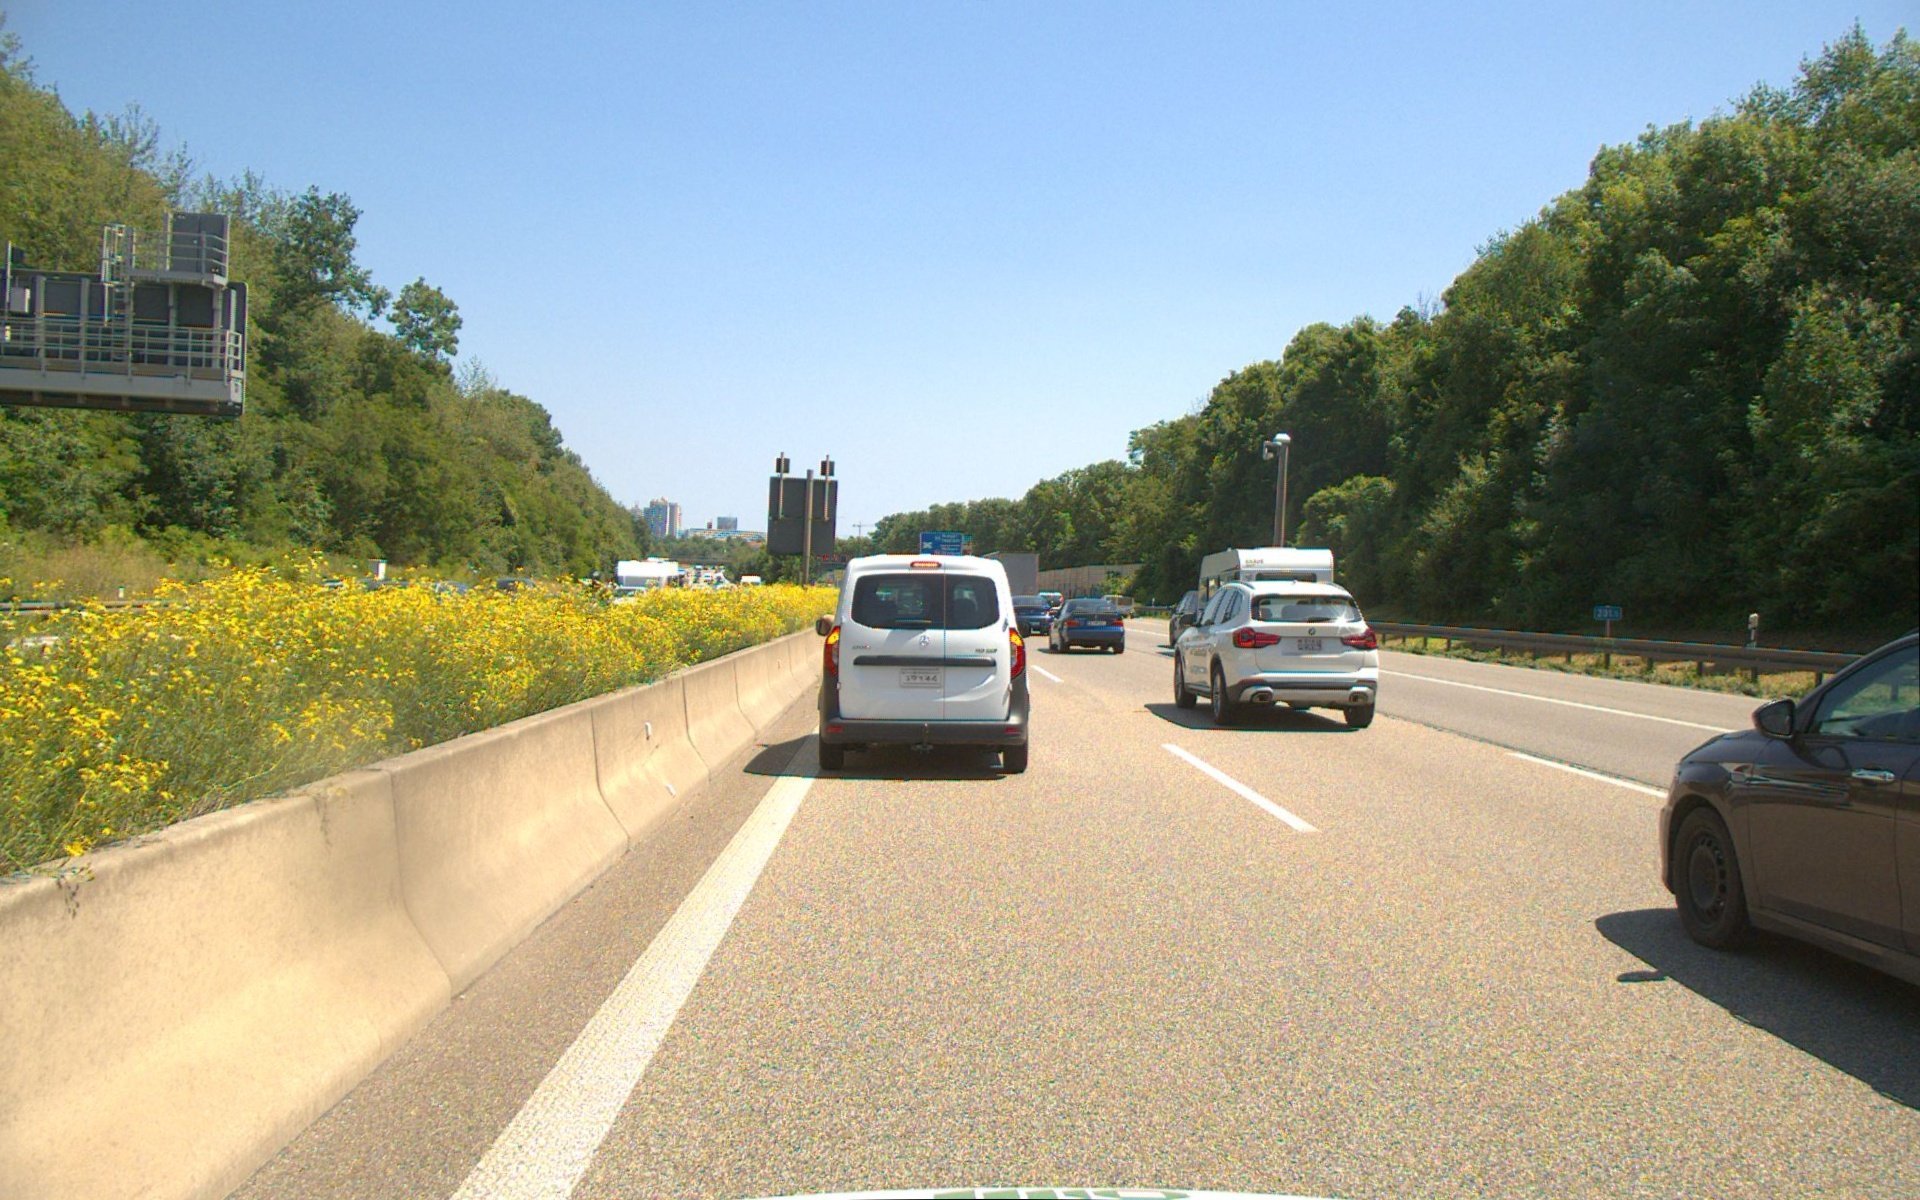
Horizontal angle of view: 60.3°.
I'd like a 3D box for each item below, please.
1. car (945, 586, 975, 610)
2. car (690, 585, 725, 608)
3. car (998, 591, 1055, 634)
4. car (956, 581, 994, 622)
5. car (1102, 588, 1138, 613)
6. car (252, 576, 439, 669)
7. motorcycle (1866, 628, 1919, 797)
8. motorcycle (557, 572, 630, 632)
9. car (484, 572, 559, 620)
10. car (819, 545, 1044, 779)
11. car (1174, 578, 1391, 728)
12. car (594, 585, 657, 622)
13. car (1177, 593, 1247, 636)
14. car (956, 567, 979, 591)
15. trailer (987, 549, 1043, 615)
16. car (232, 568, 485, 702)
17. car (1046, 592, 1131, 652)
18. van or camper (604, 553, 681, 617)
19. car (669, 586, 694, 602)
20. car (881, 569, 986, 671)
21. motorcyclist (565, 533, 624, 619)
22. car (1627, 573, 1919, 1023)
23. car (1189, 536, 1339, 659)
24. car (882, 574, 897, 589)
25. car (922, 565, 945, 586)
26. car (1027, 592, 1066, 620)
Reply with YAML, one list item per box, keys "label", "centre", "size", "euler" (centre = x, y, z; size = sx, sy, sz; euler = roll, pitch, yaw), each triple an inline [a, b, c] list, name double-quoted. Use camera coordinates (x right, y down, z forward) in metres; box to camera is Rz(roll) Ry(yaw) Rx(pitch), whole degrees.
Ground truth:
- label: "car"
  centre: [-0.026, -0.133, 104.830]
  size: [1.787, 1.472, 3.999]
  euler: [1, 0, -2]
- label: "car"
  centre: [-18.049, -0.281, 118.305]
  size: [1.953, 1.602, 3.999]
  euler: [1, 0, -1]
- label: "car"
  centre: [2.355, 0.429, 59.331]
  size: [1.787, 1.449, 3.999]
  euler: [1, 0, -2]
- label: "car"
  centre: [0.764, 0.051, 85.068]
  size: [1.787, 2.024, 3.999]
  euler: [1, 0, -2]
- label: "car"
  centre: [10.067, 0.028, 104.361]
  size: [1.752, 1.545, 3.999]
  euler: [1, 0, -1]
- label: "car"
  centre: [-11.023, 0.363, 29.993]
  size: [1.802, 1.548, 4.356]
  euler: [1, 0, -1]
- label: "motorcycle"
  centre: [7.396, 0.843, 11.656]
  size: [0.841, 1.202, 2.277]
  euler: [1, 1, 3]
- label: "motorcycle"
  centre: [-7.912, 0.027, 35.861]
  size: [1.019, 1.236, 2.613]
  euler: [1, 0, -1]
- label: "car"
  centre: [-16.518, -0.170, 62.488]
  size: [1.720, 1.725, 4.421]
  euler: [1, 0, -1]
- label: "car"
  centre: [-0.296, 0.481, 15.185]
  size: [1.766, 1.839, 3.998]
  euler: [1, 0, -2]
- label: "car"
  centre: [3.877, 0.571, 20.547]
  size: [1.833, 1.636, 3.878]
  euler: [1, 1, -1]
- label: "car"
  centre: [-13.711, 0.118, 67.988]
  size: [1.720, 1.464, 4.608]
  euler: [1, 0, -1]
- label: "car"
  centre: [8.934, 0.501, 58.991]
  size: [1.787, 1.449, 3.999]
  euler: [1, 0, -2]
- label: "car"
  centre: [0.658, -1.850, 146.123]
  size: [1.953, 2.049, 3.999]
  euler: [1, 0, -1]
- label: "trailer"
  centre: [3.520, -1.162, 108.443]
  size: [3.019, 4.055, 10.320]
  euler: [1, 0, -2]
- label: "car"
  centre: [-7.514, 0.389, 21.081]
  size: [1.802, 1.523, 3.999]
  euler: [1, 0, -1]
- label: "car"
  centre: [3.275, 0.523, 42.780]
  size: [1.787, 1.449, 3.999]
  euler: [1, 0, -2]
- label: "van or camper"
  centre: [-14.093, -0.655, 73.895]
  size: [2.262, 2.682, 7.395]
  euler: [1, 0, -3]
- label: "car"
  centre: [-25.222, -0.548, 149.789]
  size: [1.752, 1.479, 3.540]
  euler: [1, 0, -2]
- label: "car"
  centre: [-0.552, 0.362, 33.098]
  size: [1.953, 1.892, 3.999]
  euler: [1, 0, -2]
- label: "motorcyclist"
  centre: [-7.904, -0.510, 35.831]
  size: [1.010, 1.817, 1.283]
  euler: [1, 0, -1]
- label: "car"
  centre: [4.198, 0.695, 5.821]
  size: [1.801, 1.539, 4.401]
  euler: [1, 1, -2]
- label: "car"
  centre: [7.476, -0.083, 41.405]
  size: [2.429, 2.814, 6.218]
  euler: [1, 0, -2]
- label: "car"
  centre: [-10.091, -2.609, 236.781]
  size: [1.953, 2.049, 3.999]
  euler: [1, 0, -1]
- label: "car"
  centre: [-2.639, -2.435, 163.066]
  size: [1.955, 2.049, 3.996]
  euler: [1, 0, -5]
- label: "car"
  centre: [4.645, 0.332, 89.211]
  size: [1.787, 1.449, 3.999]
  euler: [1, 0, -2]
